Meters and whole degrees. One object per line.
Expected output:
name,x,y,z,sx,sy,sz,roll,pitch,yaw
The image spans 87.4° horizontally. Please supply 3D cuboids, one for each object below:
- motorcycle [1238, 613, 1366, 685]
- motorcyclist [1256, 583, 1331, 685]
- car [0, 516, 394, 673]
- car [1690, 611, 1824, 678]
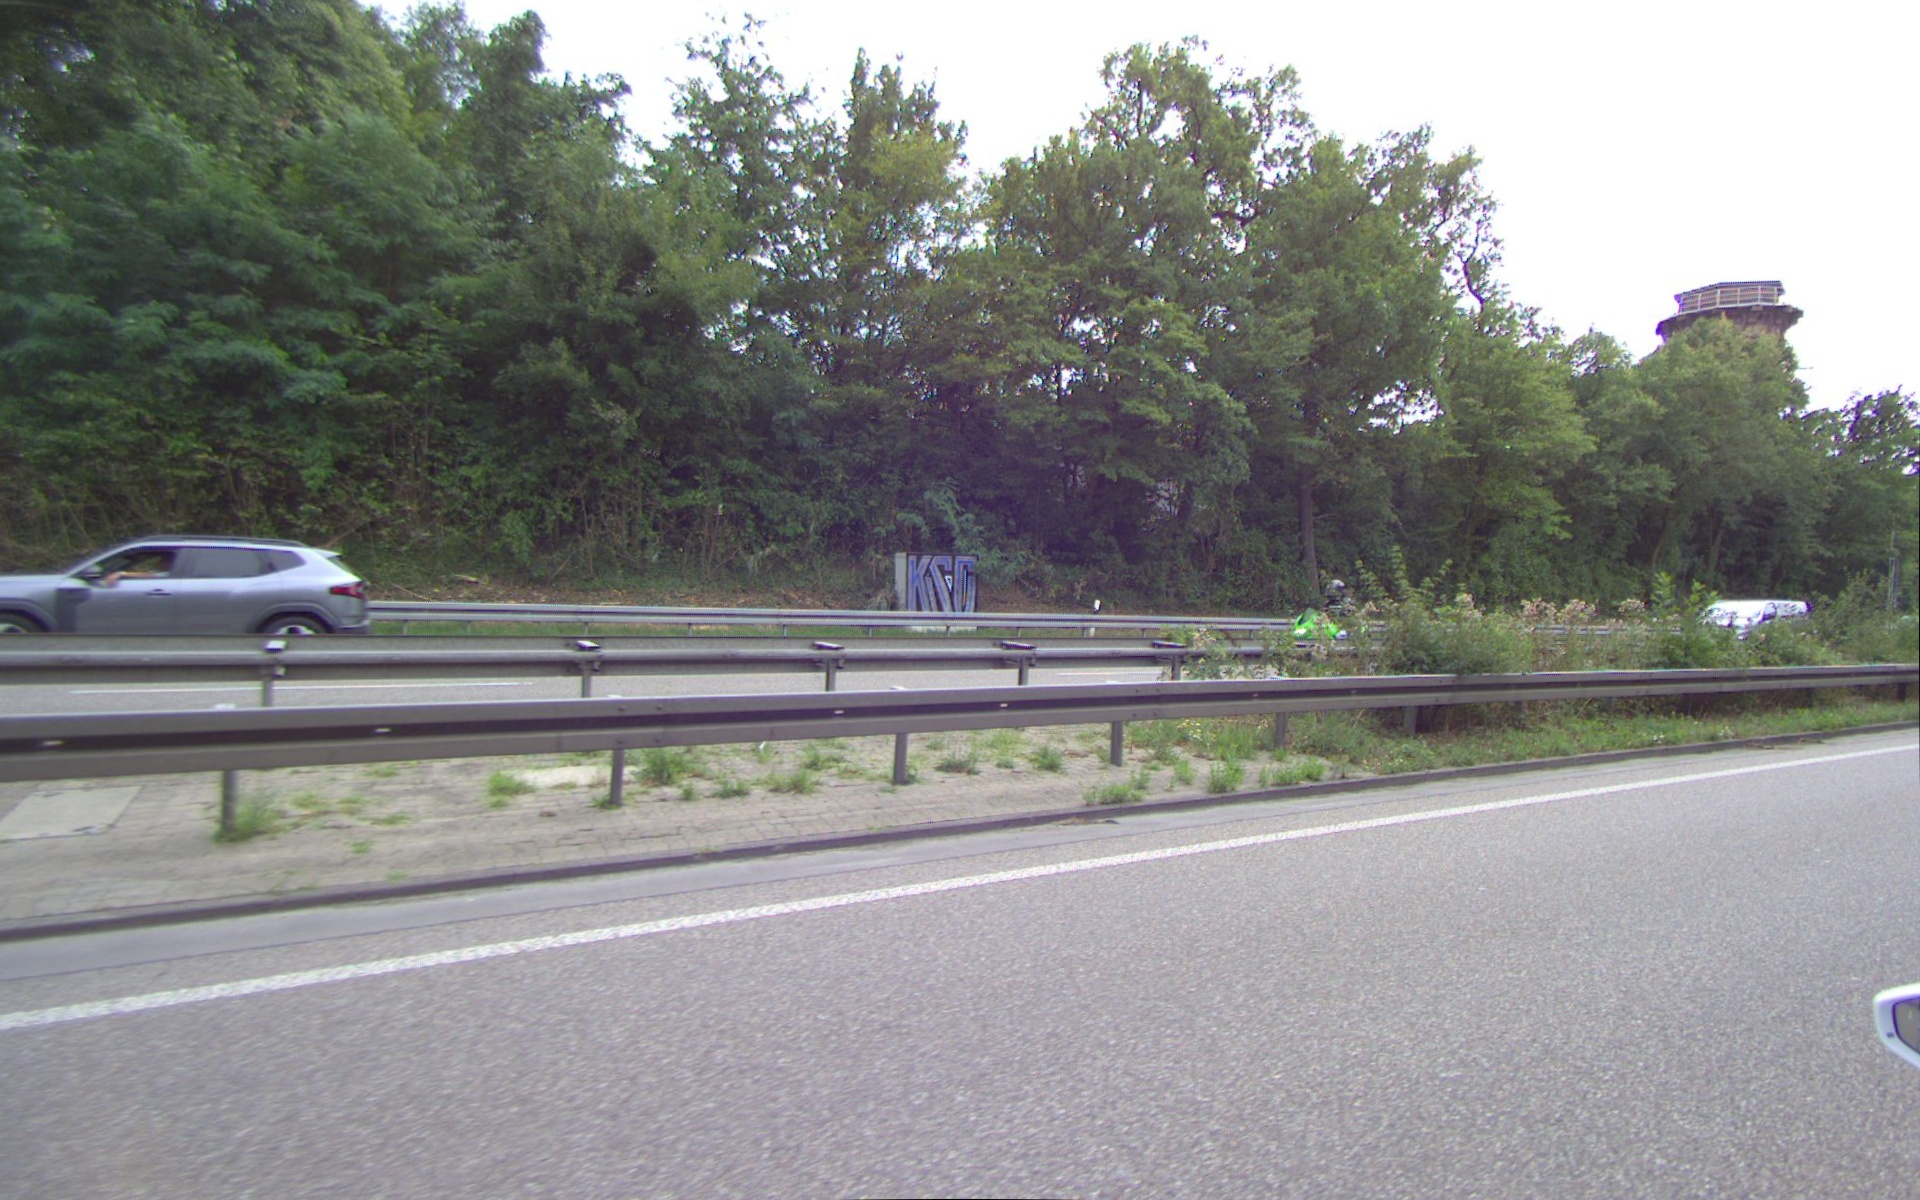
motorcycle,5.515,0.798,16.141,2.171,1.081,0.698,3,0,-31
motorcyclist,5.319,0.534,16.025,0.837,1.569,0.677,2,1,-31
car,-9.585,-0.023,12.277,4.586,1.674,1.884,3,-1,-30
car,26.660,1.512,33.563,5.242,2.040,1.787,3,0,-31
